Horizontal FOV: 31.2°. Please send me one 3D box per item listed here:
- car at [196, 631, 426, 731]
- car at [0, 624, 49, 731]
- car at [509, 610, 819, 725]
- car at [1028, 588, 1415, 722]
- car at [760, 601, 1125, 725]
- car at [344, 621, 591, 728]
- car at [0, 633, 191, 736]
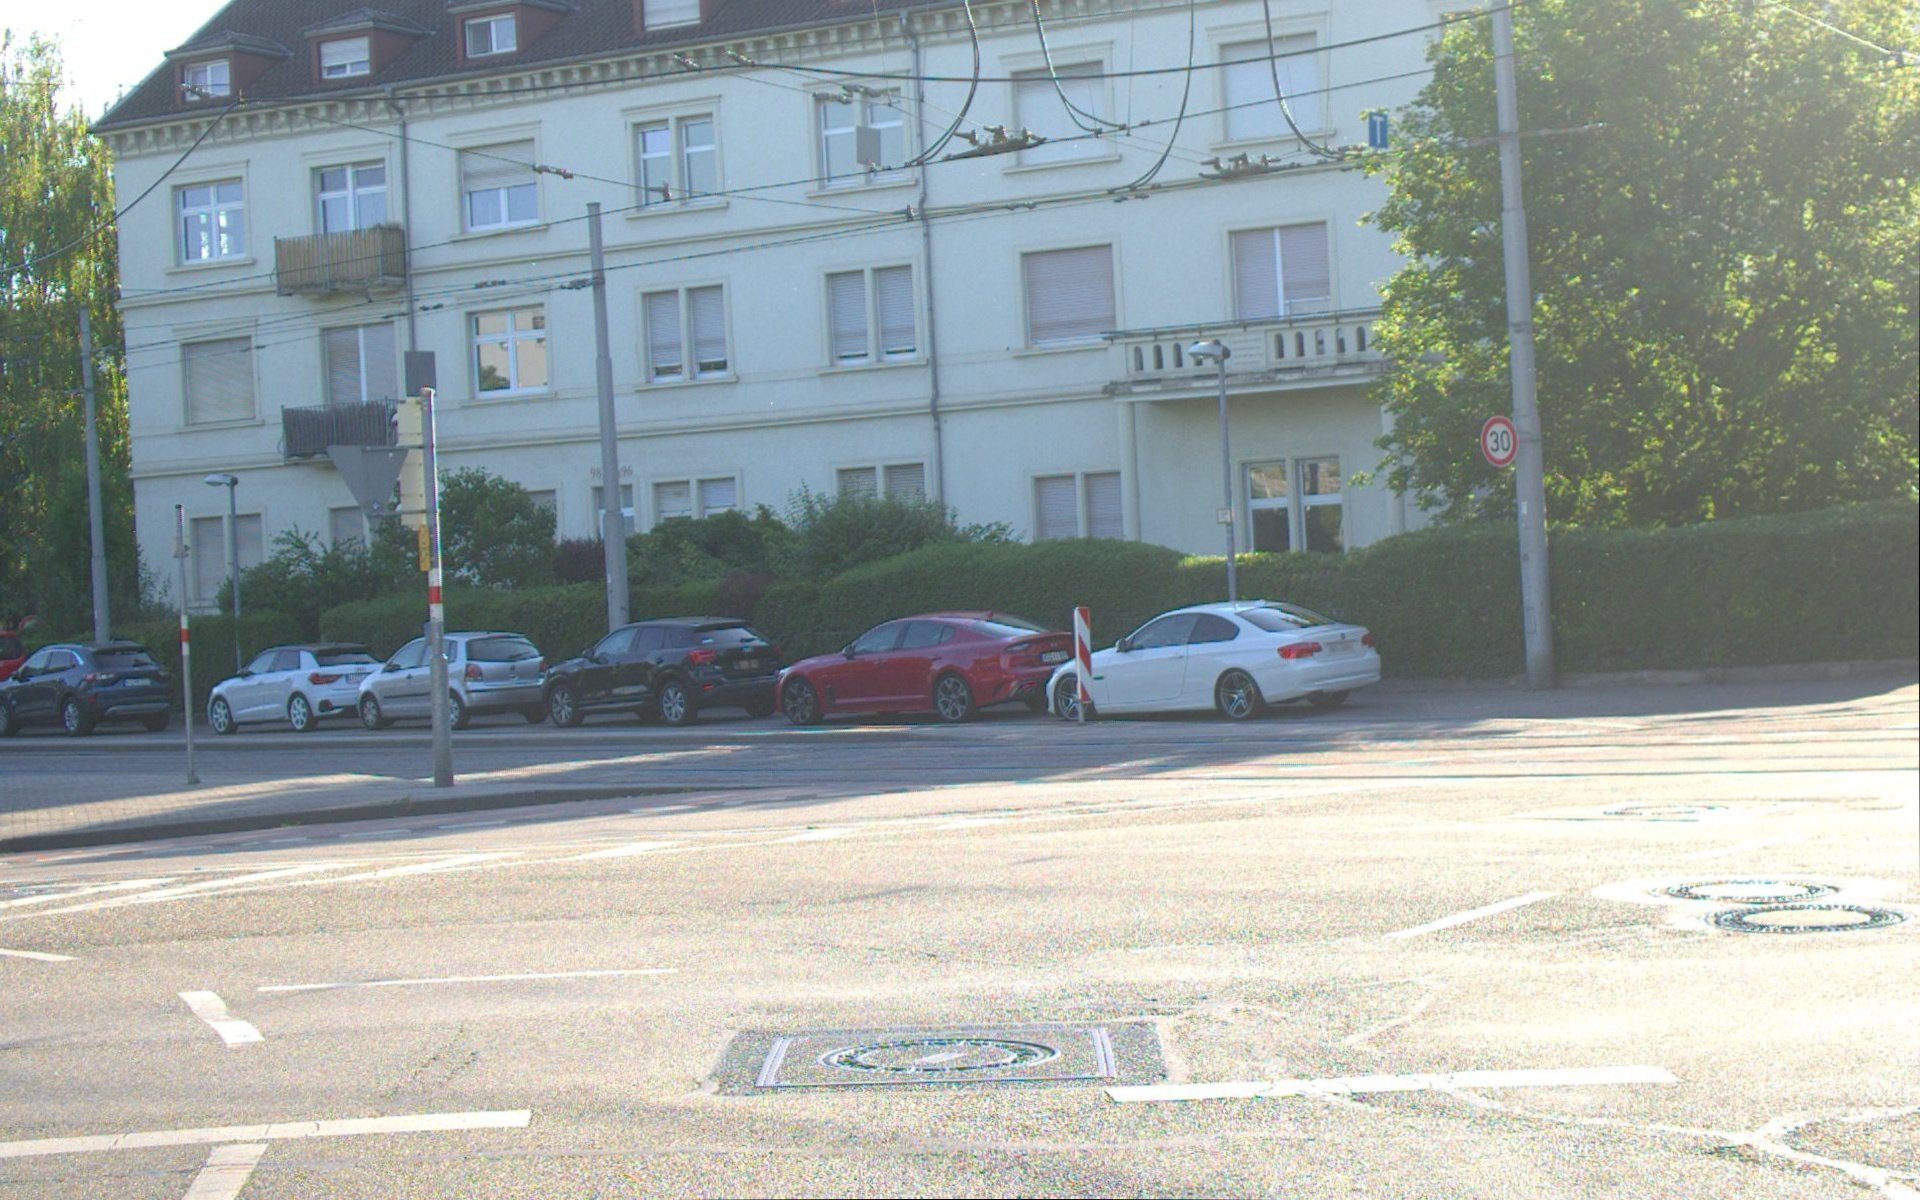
[{"bbox_3d":[-10.787,1.361,56.974,1.840,1.442,3.956,-6,2,-42],"label":"car"},{"bbox_3d":[-20.164,1.606,67.643,2.051,1.955,5.148,-6,2,-42],"label":"car"},{"bbox_3d":[-4.390,1.004,50.379,1.982,1.442,4.703,-6,2,-42],"label":"car"},{"bbox_3d":[3.148,0.689,42.043,1.926,1.371,4.494,-6,2,-44],"label":"car"},{"bbox_3d":[-0.279,0.864,45.961,4.701,1.371,1.982,-3,2,43],"label":"car"},{"bbox_3d":[-7.696,1.176,53.551,1.982,1.442,3.717,-6,2,-42],"label":"car"},{"bbox_3d":[-16.017,1.563,62.694,1.840,1.662,4.368,-6,2,-42],"label":"car"}]
